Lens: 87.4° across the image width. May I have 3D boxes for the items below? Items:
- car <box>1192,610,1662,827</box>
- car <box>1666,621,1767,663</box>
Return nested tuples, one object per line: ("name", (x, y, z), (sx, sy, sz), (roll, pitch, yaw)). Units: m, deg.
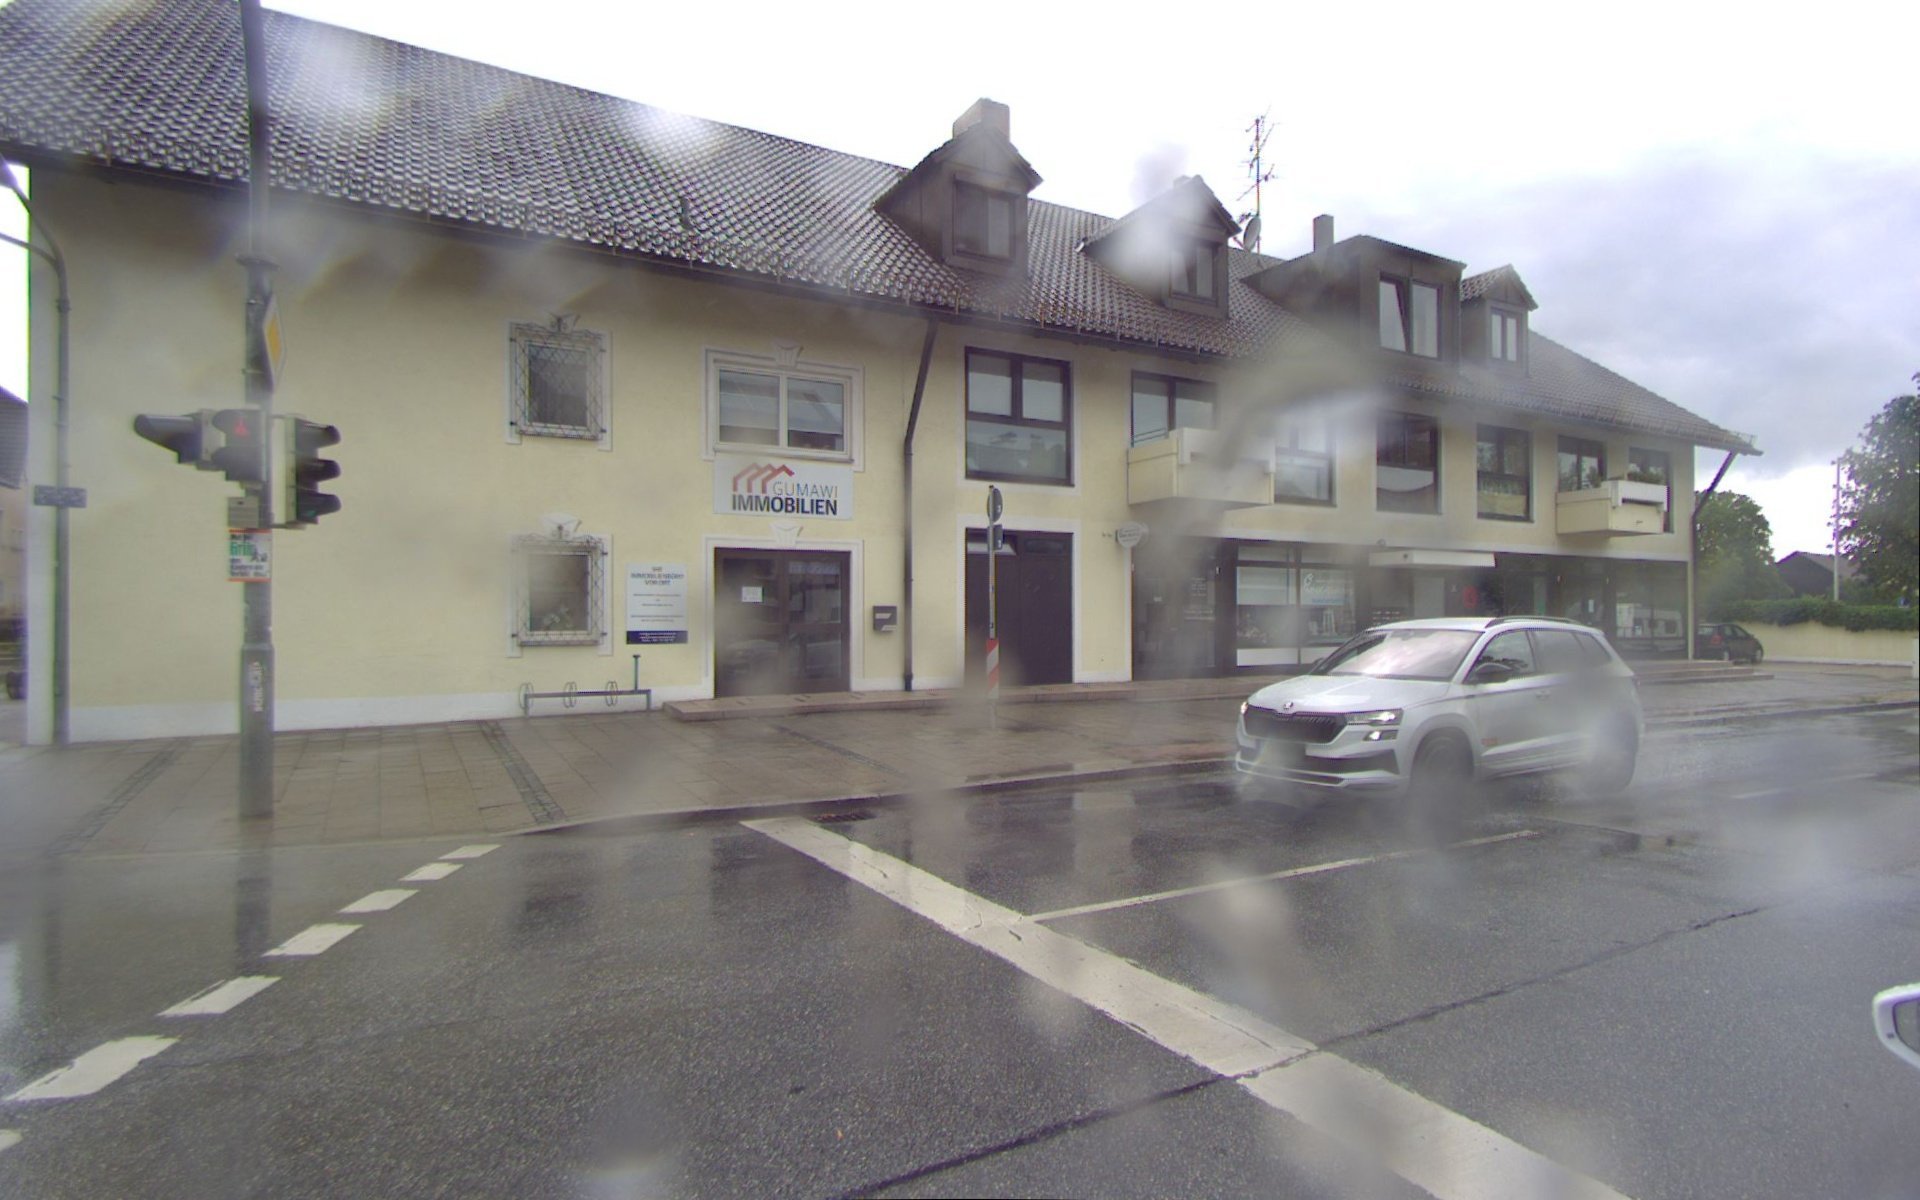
("car", (4.345, 0.934, 9.251), (4.103, 1.583, 1.958), (1, -2, -31))
("car", (26.393, 1.447, 35.020), (3.468, 1.398, 1.599), (1, -2, -31))
